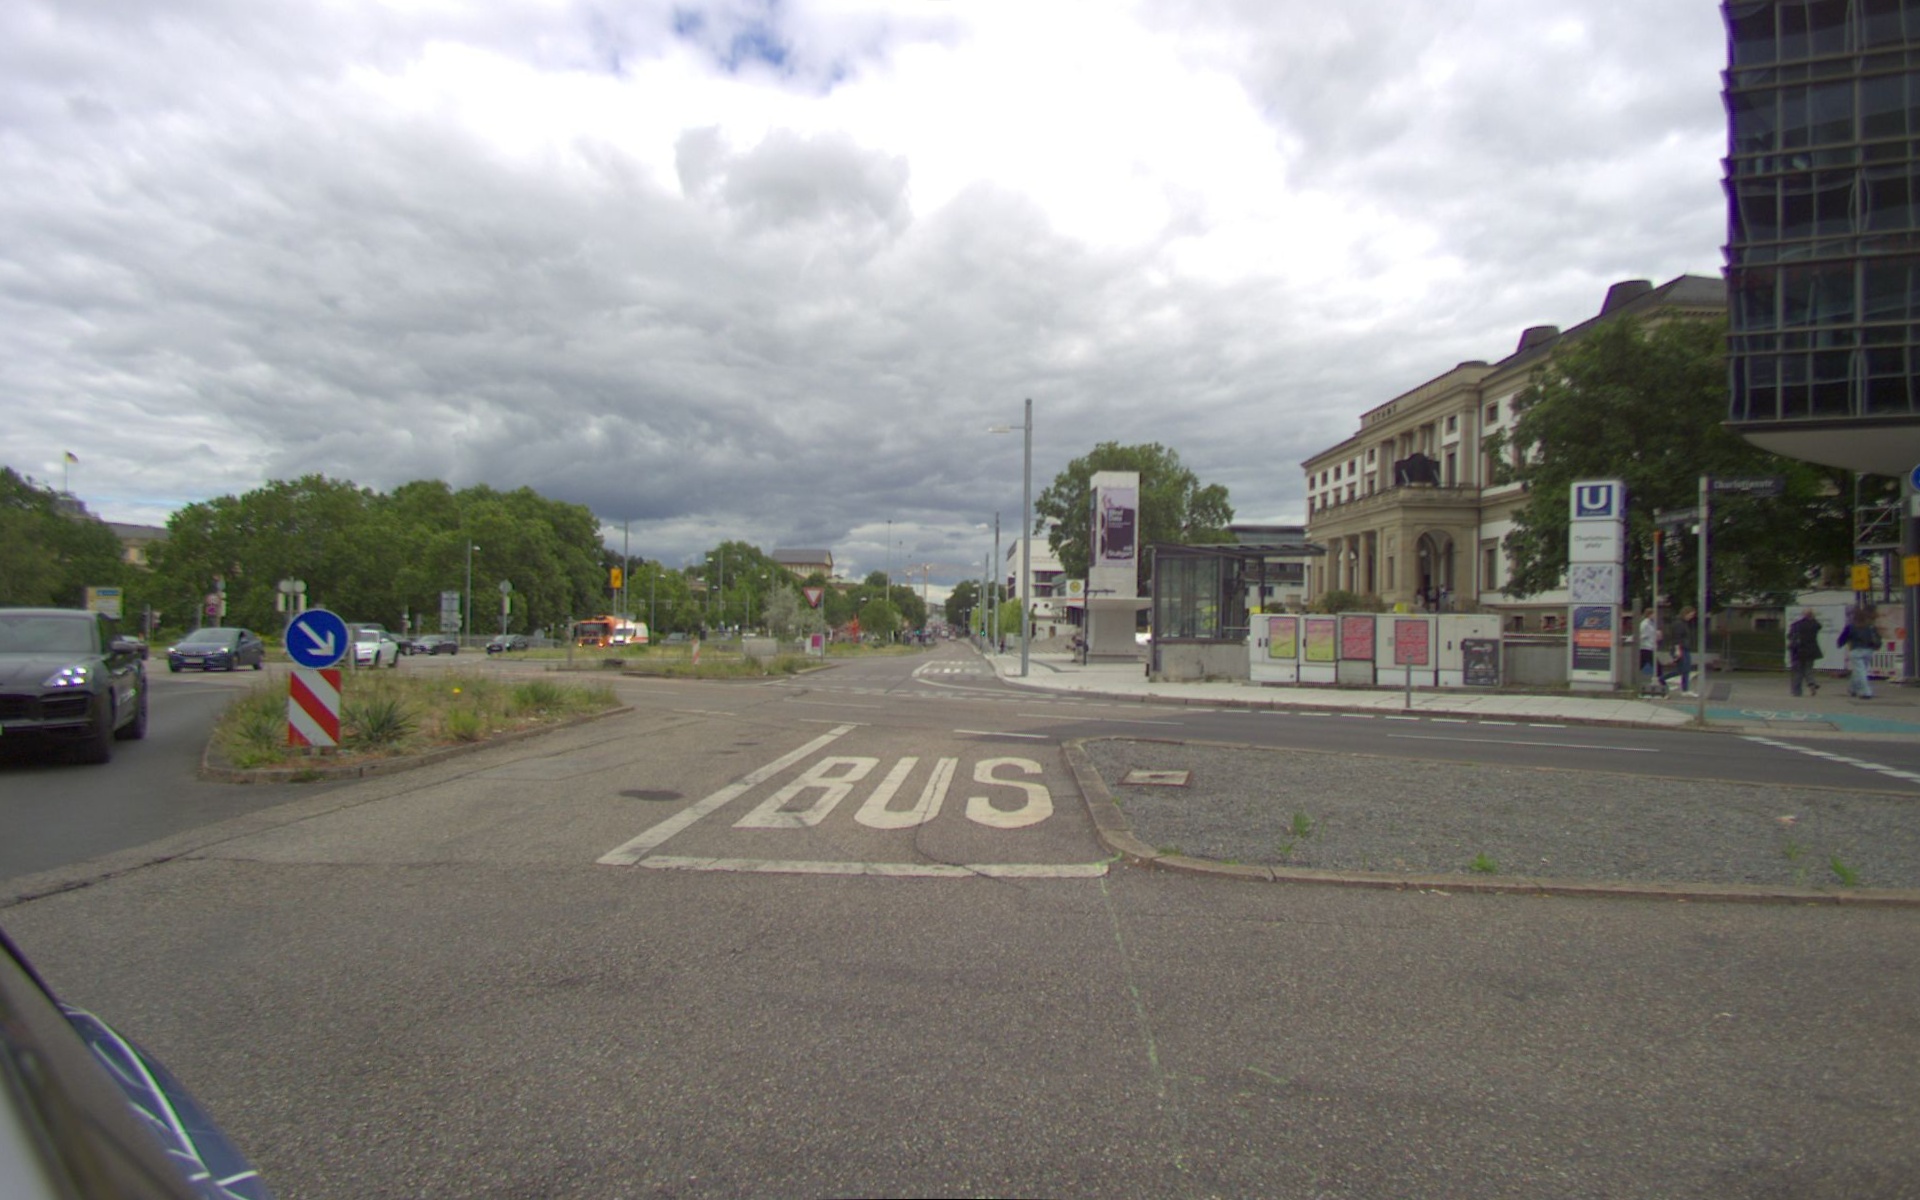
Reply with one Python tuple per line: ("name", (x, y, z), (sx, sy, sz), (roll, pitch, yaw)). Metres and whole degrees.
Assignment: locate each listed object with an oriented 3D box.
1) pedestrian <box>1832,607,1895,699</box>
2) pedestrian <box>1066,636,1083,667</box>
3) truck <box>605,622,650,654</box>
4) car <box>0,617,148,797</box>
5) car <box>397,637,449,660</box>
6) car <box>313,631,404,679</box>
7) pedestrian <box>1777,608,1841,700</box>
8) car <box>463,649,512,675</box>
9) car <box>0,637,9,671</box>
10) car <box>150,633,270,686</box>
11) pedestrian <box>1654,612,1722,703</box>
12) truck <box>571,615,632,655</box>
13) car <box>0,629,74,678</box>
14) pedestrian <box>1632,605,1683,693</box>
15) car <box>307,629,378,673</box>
("pedestrian", (17.169, 1.004, 19.237), (0.626, 1.713, 0.641), (-1, -2, 15))
("pedestrian", (5.090, 2.289, 44.992), (0.697, 1.363, 0.759), (0, -2, 6))
("truck", (-30.460, 3.464, 92.918), (1.931, 2.805, 5.783), (0, -2, 3))
("car", (-10.614, 1.034, 11.365), (1.973, 1.651, 5.033), (1, -1, -35))
("car", (-37.231, 3.332, 70.243), (1.752, 1.475, 3.584), (0, -1, -1))
("car", (-21.859, 1.944, 36.967), (2.061, 1.621, 4.426), (0, -2, -20))
("pedestrian", (16.315, 1.024, 19.468), (0.626, 1.713, 0.765), (-1, -2, 15))
("car", (-33.689, 4.402, 72.208), (1.834, 1.752, 3.741), (0, -2, -2))
("car", (-40.447, 2.235, 40.965), (1.699, 1.429, 3.659), (0, -2, -23))
("car", (-24.934, 1.938, 33.816), (1.966, 1.613, 4.012), (0, -1, -17))
("pedestrian", (13.566, 1.045, 18.885), (0.963, 1.625, 0.647), (2, 0, 34))
("truck", (-34.179, 3.348, 96.822), (2.689, 3.644, 9.179), (0, -2, -1))
("car", (-32.924, 1.822, 35.027), (1.965, 1.516, 5.056), (0, -1, -24))
("pedestrian", (13.658, 0.947, 19.832), (0.785, 1.643, 0.598), (2, 3, 34))
("car", (-29.632, 2.433, 48.703), (1.829, 2.003, 4.656), (2, -2, -18))
